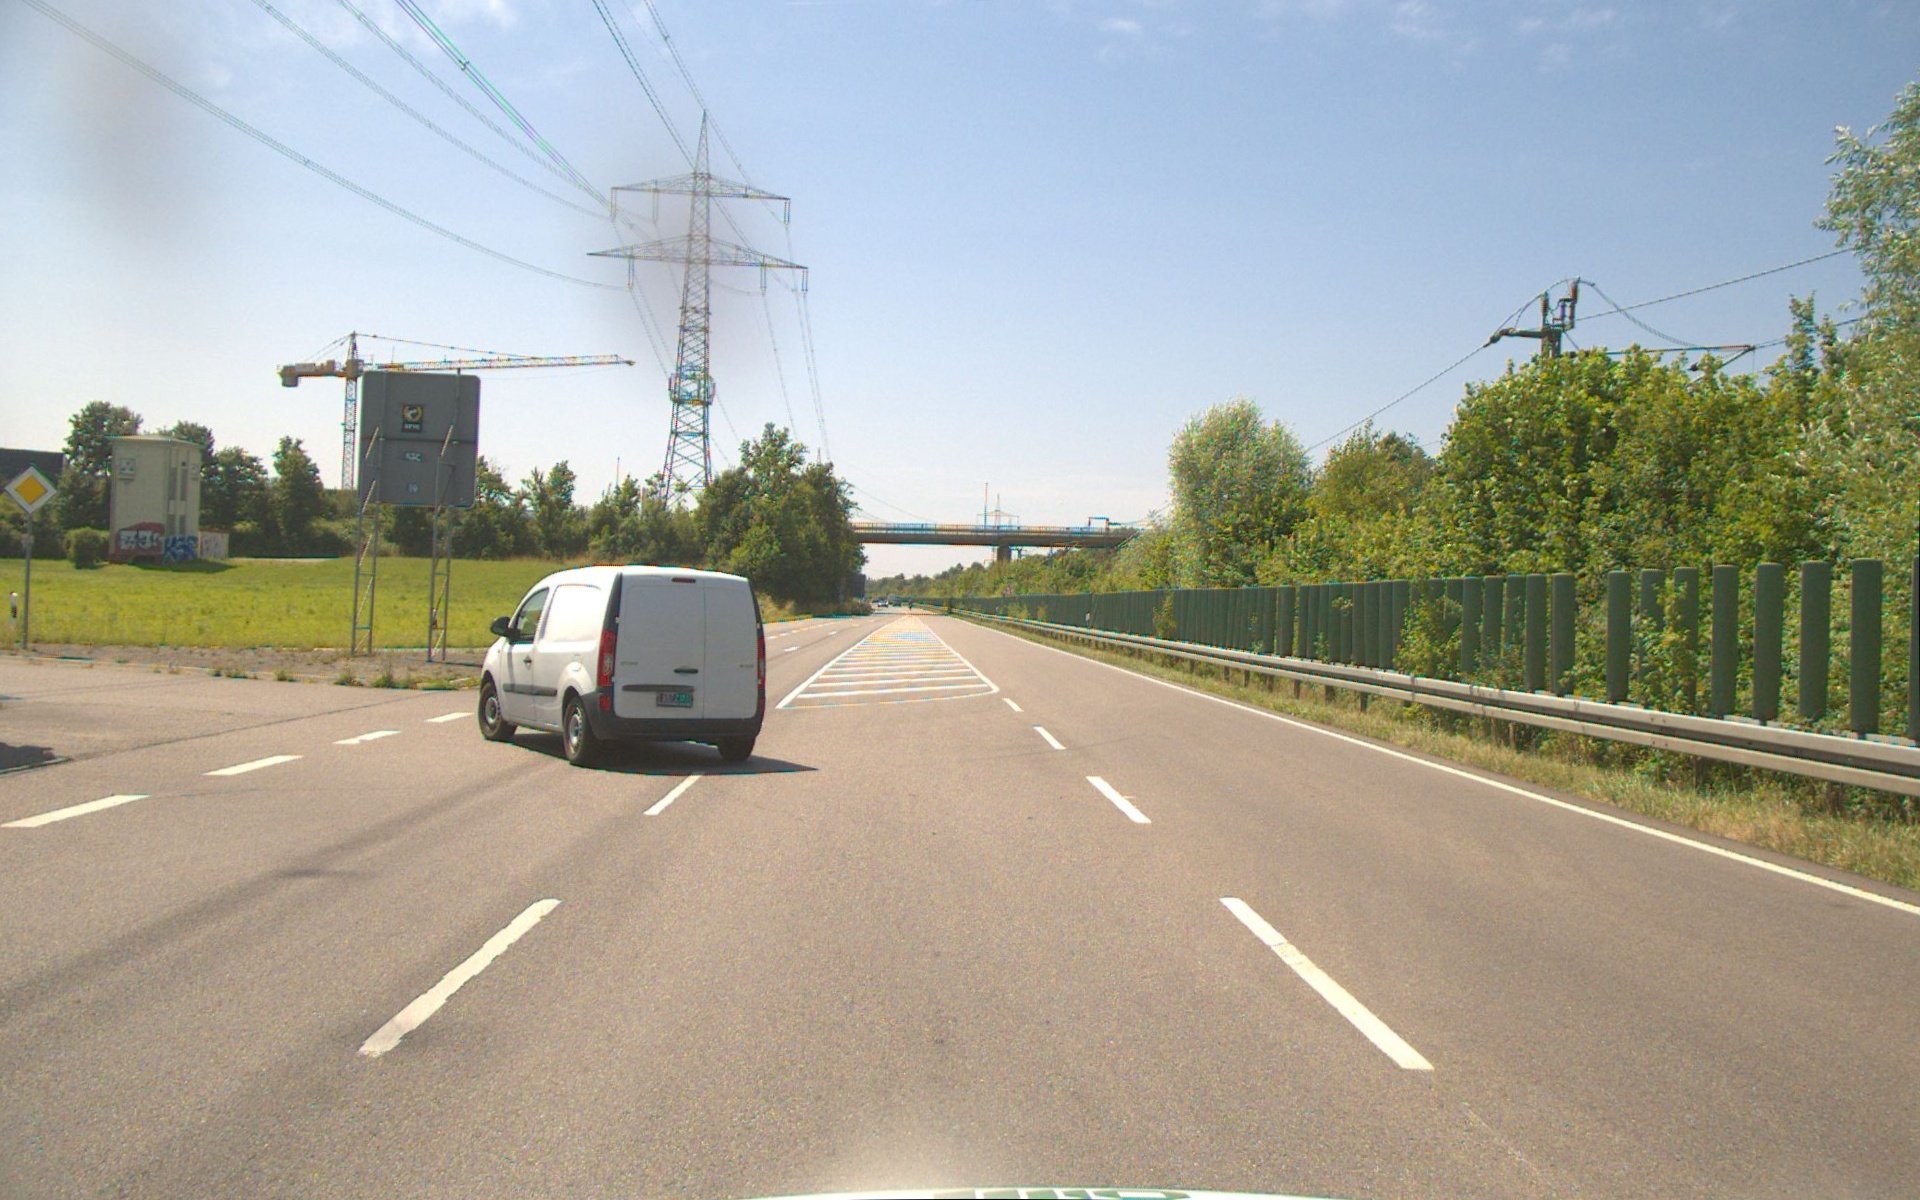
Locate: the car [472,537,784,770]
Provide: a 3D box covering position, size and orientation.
[{"bbox_3d":[-3.402,0.454,16.376,1.808,2.005,3.958,1,0,-31],"label":"car"}]

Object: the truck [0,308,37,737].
[{"bbox_3d":[-12.408,-0.907,13.838,7.743,3.799,2.498,4,0,0],"label":"truck"}]
